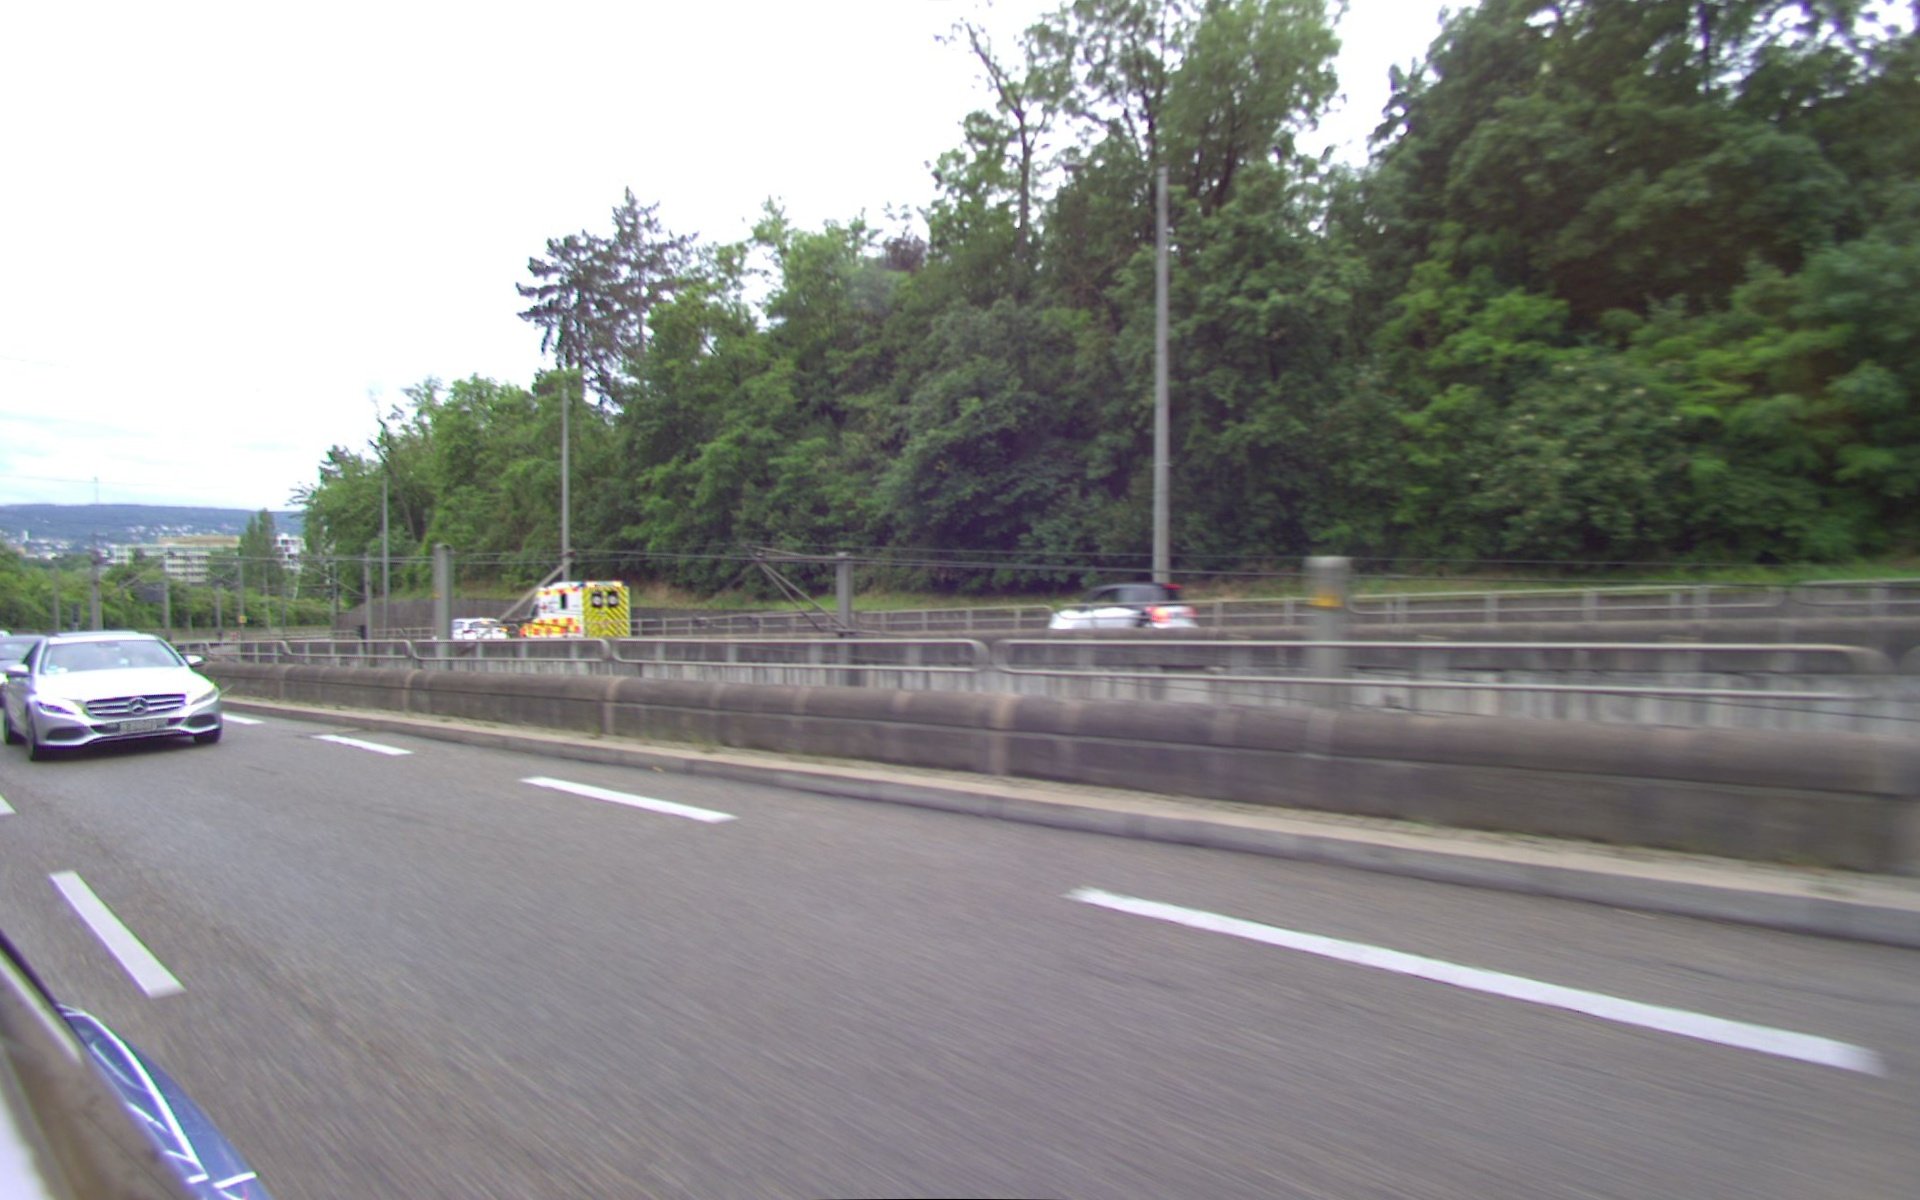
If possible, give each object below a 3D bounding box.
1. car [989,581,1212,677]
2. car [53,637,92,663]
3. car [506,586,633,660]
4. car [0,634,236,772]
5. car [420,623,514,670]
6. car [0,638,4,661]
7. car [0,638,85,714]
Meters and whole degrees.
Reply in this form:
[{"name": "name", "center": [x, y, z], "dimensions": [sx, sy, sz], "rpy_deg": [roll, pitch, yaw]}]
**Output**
[{"name": "car", "center": [2.828, 0.595, 20.795], "dimensions": [4.137, 1.763, 1.941], "rpy_deg": [-2, -2, 40]}, {"name": "car", "center": [-72.869, 4.060, 83.157], "dimensions": [1.967, 2.029, 4.505], "rpy_deg": [0, -2, -35]}, {"name": "car", "center": [-15.791, 0.954, 40.728], "dimensions": [6.343, 2.755, 2.159], "rpy_deg": [-2, -2, 42]}, {"name": "car", "center": [-10.998, 1.204, 13.000], "dimensions": [4.313, 1.413, 1.837], "rpy_deg": [-3, -1, 41]}, {"name": "car", "center": [-19.387, 1.788, 39.711], "dimensions": [4.107, 1.717, 1.799], "rpy_deg": [-2, -2, 40]}, {"name": "car", "center": [-69.410, 3.604, 71.864], "dimensions": [1.782, 1.521, 4.009], "rpy_deg": [-3, 2, -37]}, {"name": "car", "center": [-20.324, 1.608, 21.883], "dimensions": [3.887, 1.482, 1.706], "rpy_deg": [-3, -2, 43]}]
